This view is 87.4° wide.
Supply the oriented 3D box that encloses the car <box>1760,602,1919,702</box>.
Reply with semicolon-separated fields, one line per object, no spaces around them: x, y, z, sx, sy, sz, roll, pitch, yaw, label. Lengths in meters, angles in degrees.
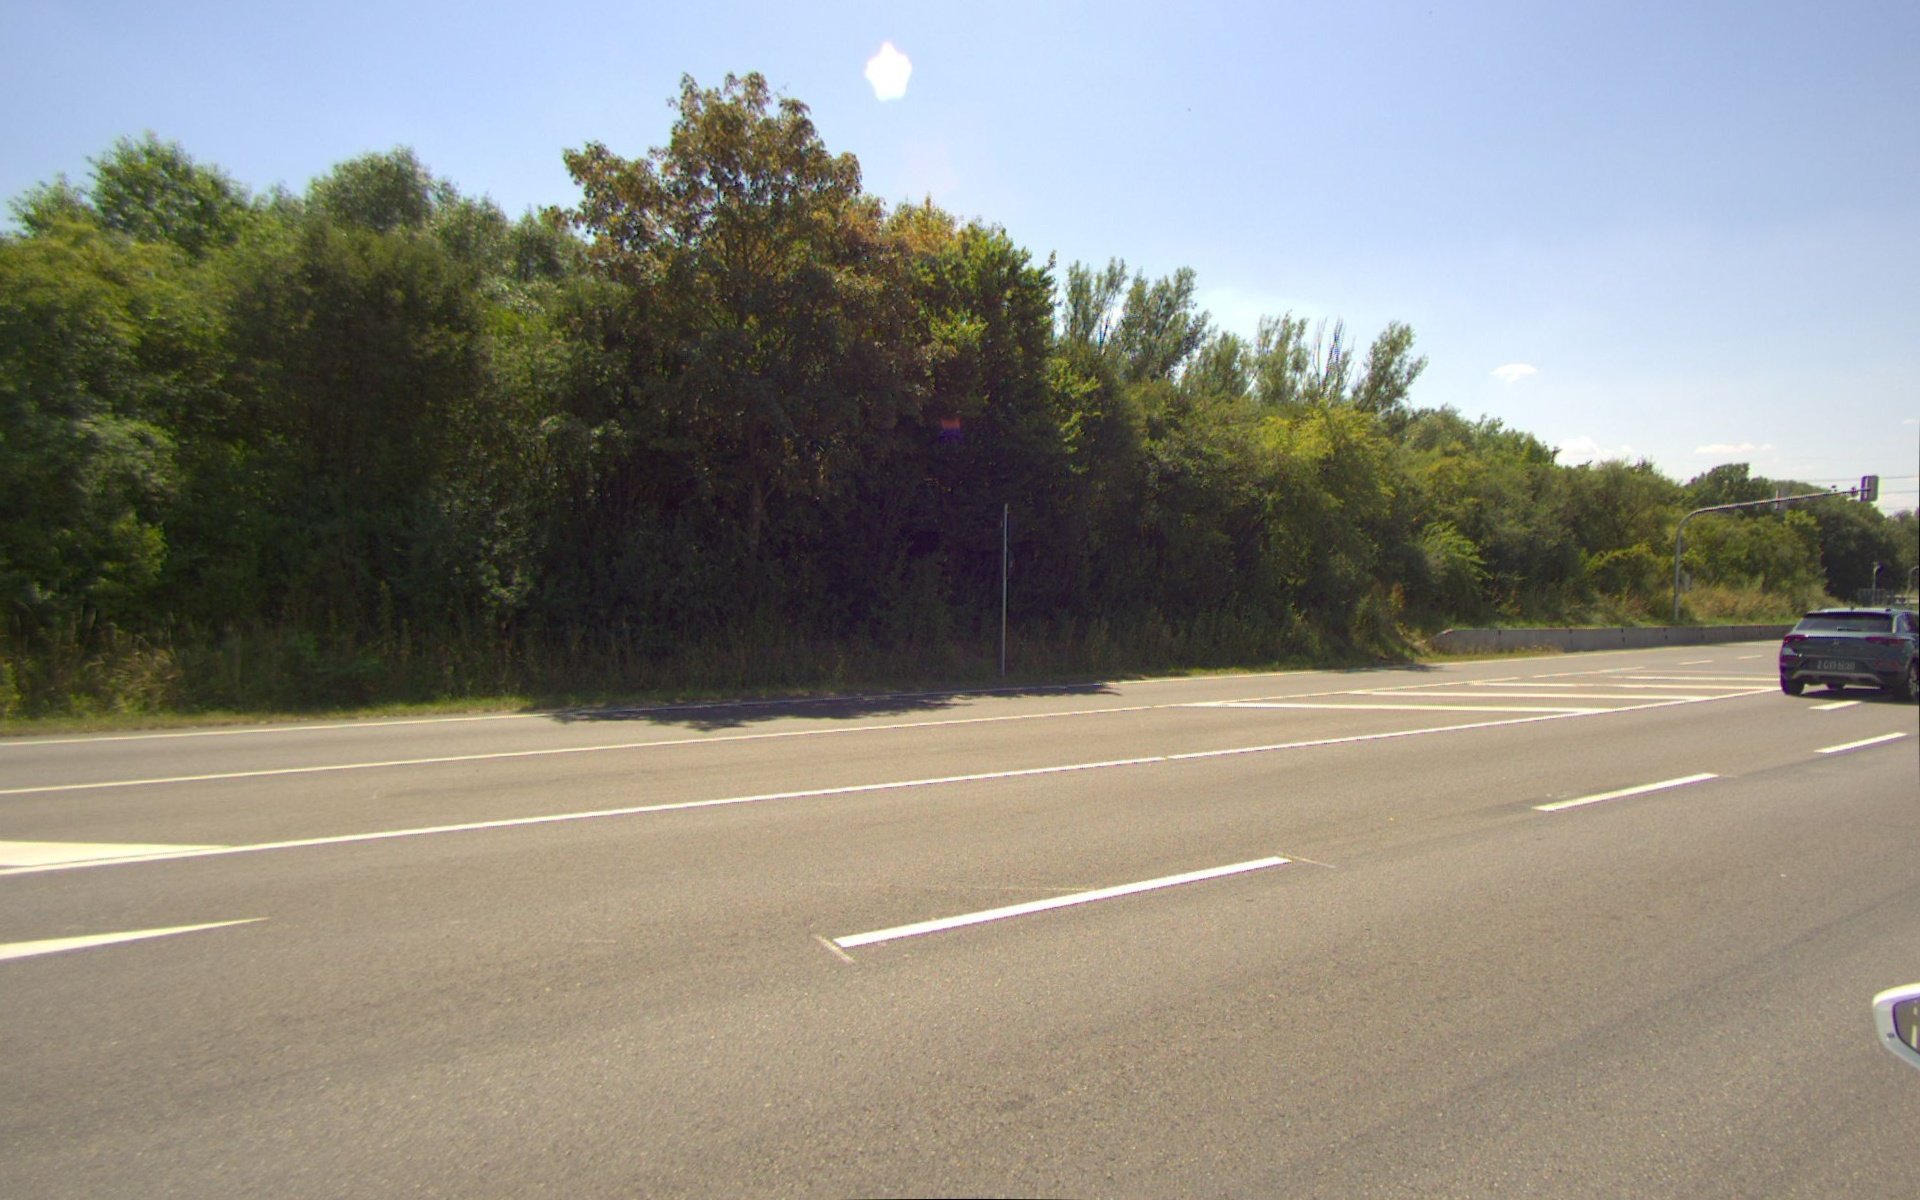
16.422;0.867;18.274;4.348;1.608;1.822;1;0;-36;car
